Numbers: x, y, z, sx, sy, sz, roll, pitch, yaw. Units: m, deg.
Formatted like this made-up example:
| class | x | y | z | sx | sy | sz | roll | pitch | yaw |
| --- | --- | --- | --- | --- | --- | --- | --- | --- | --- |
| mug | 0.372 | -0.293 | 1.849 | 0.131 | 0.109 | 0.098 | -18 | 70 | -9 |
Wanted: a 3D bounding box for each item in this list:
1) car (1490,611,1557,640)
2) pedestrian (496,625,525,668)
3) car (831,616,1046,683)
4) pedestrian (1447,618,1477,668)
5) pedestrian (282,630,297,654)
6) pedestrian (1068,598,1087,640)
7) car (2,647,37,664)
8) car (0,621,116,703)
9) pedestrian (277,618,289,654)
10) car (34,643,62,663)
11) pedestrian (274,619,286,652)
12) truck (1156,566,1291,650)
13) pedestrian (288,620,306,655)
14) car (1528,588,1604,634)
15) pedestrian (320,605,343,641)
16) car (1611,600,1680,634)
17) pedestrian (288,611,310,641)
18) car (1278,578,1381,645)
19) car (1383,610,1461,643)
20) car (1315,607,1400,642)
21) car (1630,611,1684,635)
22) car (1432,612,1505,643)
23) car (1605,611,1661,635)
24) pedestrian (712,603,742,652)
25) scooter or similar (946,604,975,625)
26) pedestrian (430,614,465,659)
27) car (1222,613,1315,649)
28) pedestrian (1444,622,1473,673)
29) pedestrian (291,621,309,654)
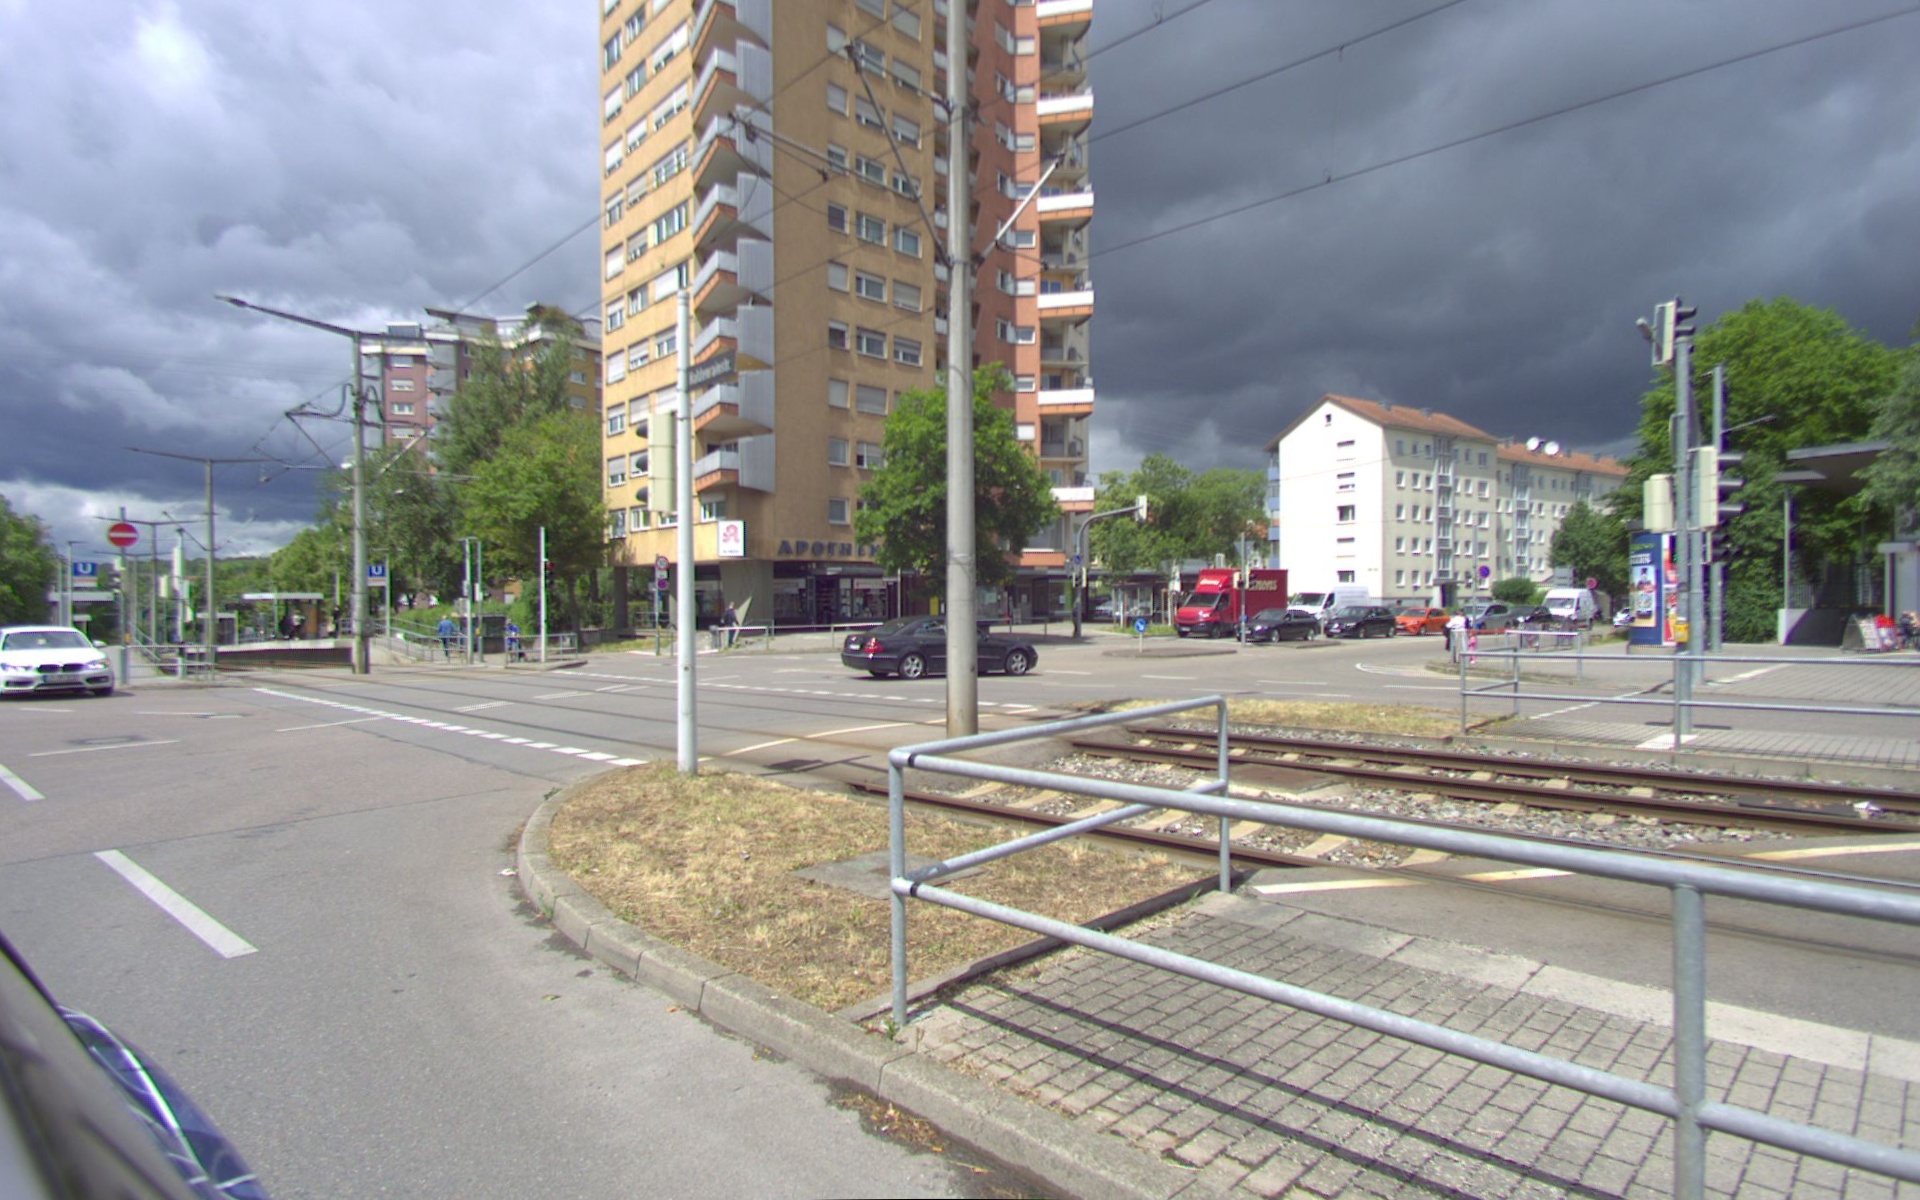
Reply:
| class | x | y | z | sx | sy | sz | roll | pitch | yaw |
| --- | --- | --- | --- | --- | --- | --- | --- | --- | --- |
| car | 33.034 | 1.490 | 59.270 | 3.935 | 1.614 | 2.004 | 1 | -2 | -37 |
| pedestrian | -15.910 | 1.636 | 35.833 | 0.646 | 1.525 | 0.714 | -2 | -2 | 30 |
| car | -0.471 | 1.104 | 23.514 | 4.594 | 1.409 | 1.983 | 0 | -2 | -30 |
| pedestrian | 15.177 | 1.292 | 30.593 | 0.562 | 1.483 | 0.528 | 0 | -2 | -20 |
| pedestrian | -39.780 | 2.502 | 60.043 | 0.636 | 1.426 | 0.659 | 1 | -2 | -45 |
| pedestrian | 5.211 | 0.840 | 44.861 | 0.637 | 1.825 | 0.883 | -1 | -2 | 18 |
| car | -73.228 | 4.293 | 78.836 | 1.779 | 1.224 | 4.027 | 1 | -2 | -41 |
| car | -18.560 | 1.222 | 20.511 | 4.276 | 1.462 | 1.769 | -3 | -2 | 44 |
| pedestrian | -41.344 | 2.193 | 61.771 | 0.524 | 2.158 | 0.609 | 1 | -2 | -42 |
| car | -104.205 | 6.071 | 115.590 | 3.998 | 2.165 | 1.972 | -2 | -2 | 42 |
| pedestrian | -41.802 | 2.163 | 62.236 | 0.510 | 2.029 | 0.558 | 1 | -2 | -45 |
| truck | 12.502 | 0.426 | 47.683 | 6.988 | 3.702 | 2.551 | 1 | -2 | -40 |
| pedestrian | -38.688 | 2.157 | 59.022 | 0.769 | 2.029 | 0.584 | 1 | -2 | -45 |
| car | 38.016 | 0.728 | 63.477 | 4.817 | 2.809 | 2.442 | 1 | -2 | -37 |
| pedestrian | -31.861 | 1.169 | 51.314 | 0.748 | 1.787 | 0.853 | -2 | -2 | 44 |
| car | 50.784 | 1.294 | 75.013 | 1.733 | 2.496 | 3.826 | 1 | -2 | -40 |
| pedestrian | -35.896 | 1.390 | 54.964 | 0.748 | 1.618 | 0.853 | -2 | -2 | 44 |
| car | 19.343 | 0.635 | 52.850 | 6.203 | 3.324 | 2.004 | 1 | -2 | -38 |
| car | 23.747 | 1.344 | 51.962 | 3.935 | 1.614 | 2.004 | 1 | -2 | -37 |
| car | 18.922 | 1.170 | 48.145 | 3.935 | 1.614 | 2.004 | 1 | -2 | -37 |
| car | 49.565 | 1.631 | 71.975 | 3.935 | 1.614 | 2.004 | 1 | -2 | -37 |
| car | 27.715 | 1.489 | 55.132 | 3.935 | 1.614 | 2.004 | 1 | -2 | -37 |
| car | 46.035 | 1.590 | 69.205 | 3.935 | 1.614 | 2.004 | 1 | -2 | -37 |
| pedestrian | -9.579 | 1.131 | 41.631 | 0.854 | 1.949 | 0.908 | -2 | -2 | 44 |
| scooter or similar | 0.023 | 0.750 | 52.678 | 0.545 | 1.102 | 1.729 | -2 | -2 | 40 |
| pedestrian | -19.544 | 1.374 | 38.590 | 0.721 | 1.609 | 0.898 | -2 | 3 | 44 |
| car | 13.424 | 1.339 | 43.920 | 3.936 | 1.506 | 2.004 | 1 | -2 | -39 |
| pedestrian | 14.773 | 1.406 | 29.999 | 0.510 | 1.483 | 0.528 | 0 | -2 | -20 |
| pedestrian | -38.222 | 2.166 | 58.583 | 0.573 | 1.946 | 0.760 | -2 | -2 | 43 |
